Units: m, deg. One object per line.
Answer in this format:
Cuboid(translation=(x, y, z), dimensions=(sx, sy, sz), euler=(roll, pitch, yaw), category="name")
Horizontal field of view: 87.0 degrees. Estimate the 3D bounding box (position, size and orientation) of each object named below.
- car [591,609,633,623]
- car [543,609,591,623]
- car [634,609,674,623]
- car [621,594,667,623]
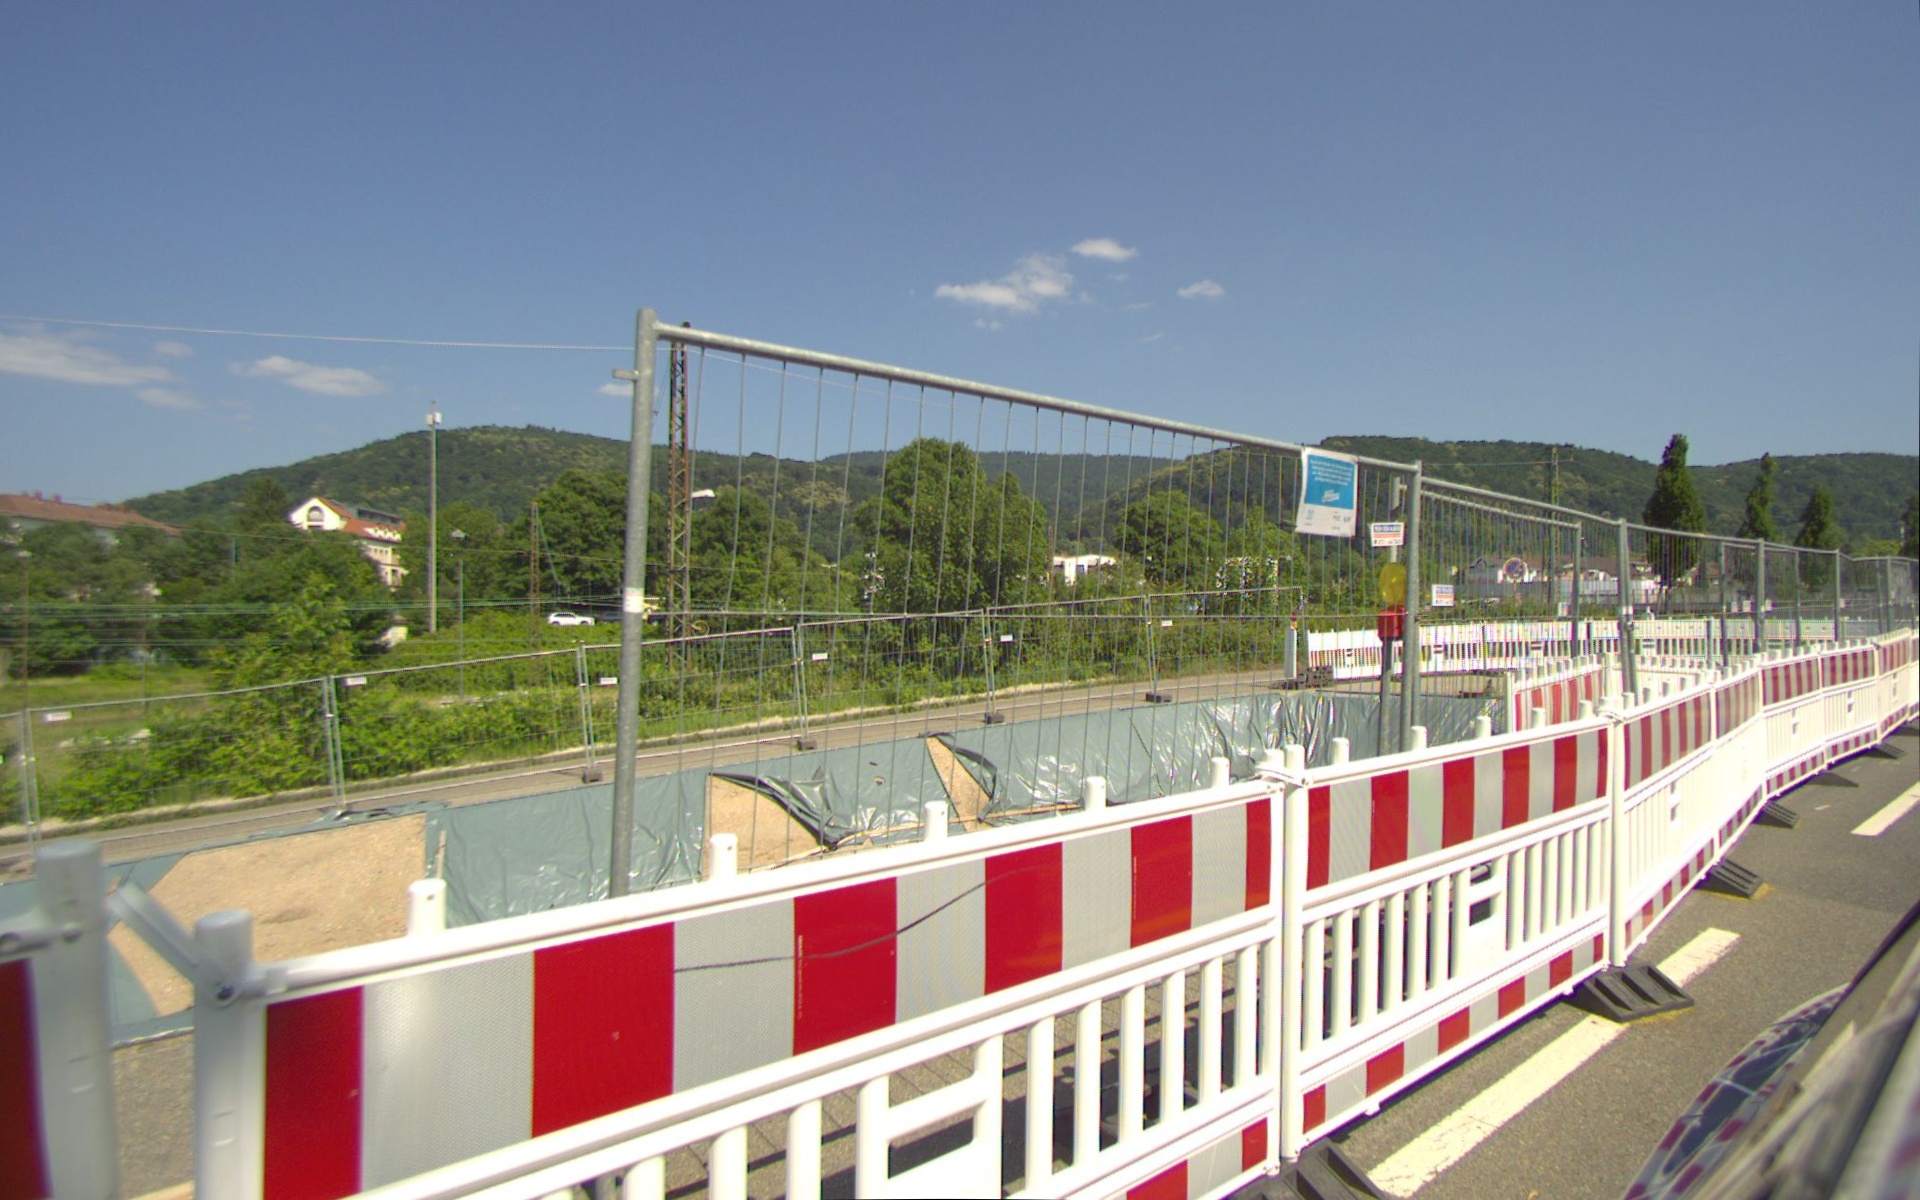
Cuboid(translation=(-35.596, 1.646, 103.621), dimensions=(3.764, 1.384, 1.785), euler=(-1, 0, -8), category="car")
Cuboid(translation=(-40.053, 1.632, 103.200), dimensions=(4.229, 1.384, 1.868), euler=(-1, 0, -7), category="car")
Cuboid(translation=(-31.441, 1.640, 104.217), dimensions=(3.763, 1.384, 1.786), euler=(-1, 0, -10), category="car")
Cuboid(translation=(-33.356, 0.896, 106.876), dimensions=(4.543, 2.888, 1.869), euler=(-1, -1, -15), category="car")
